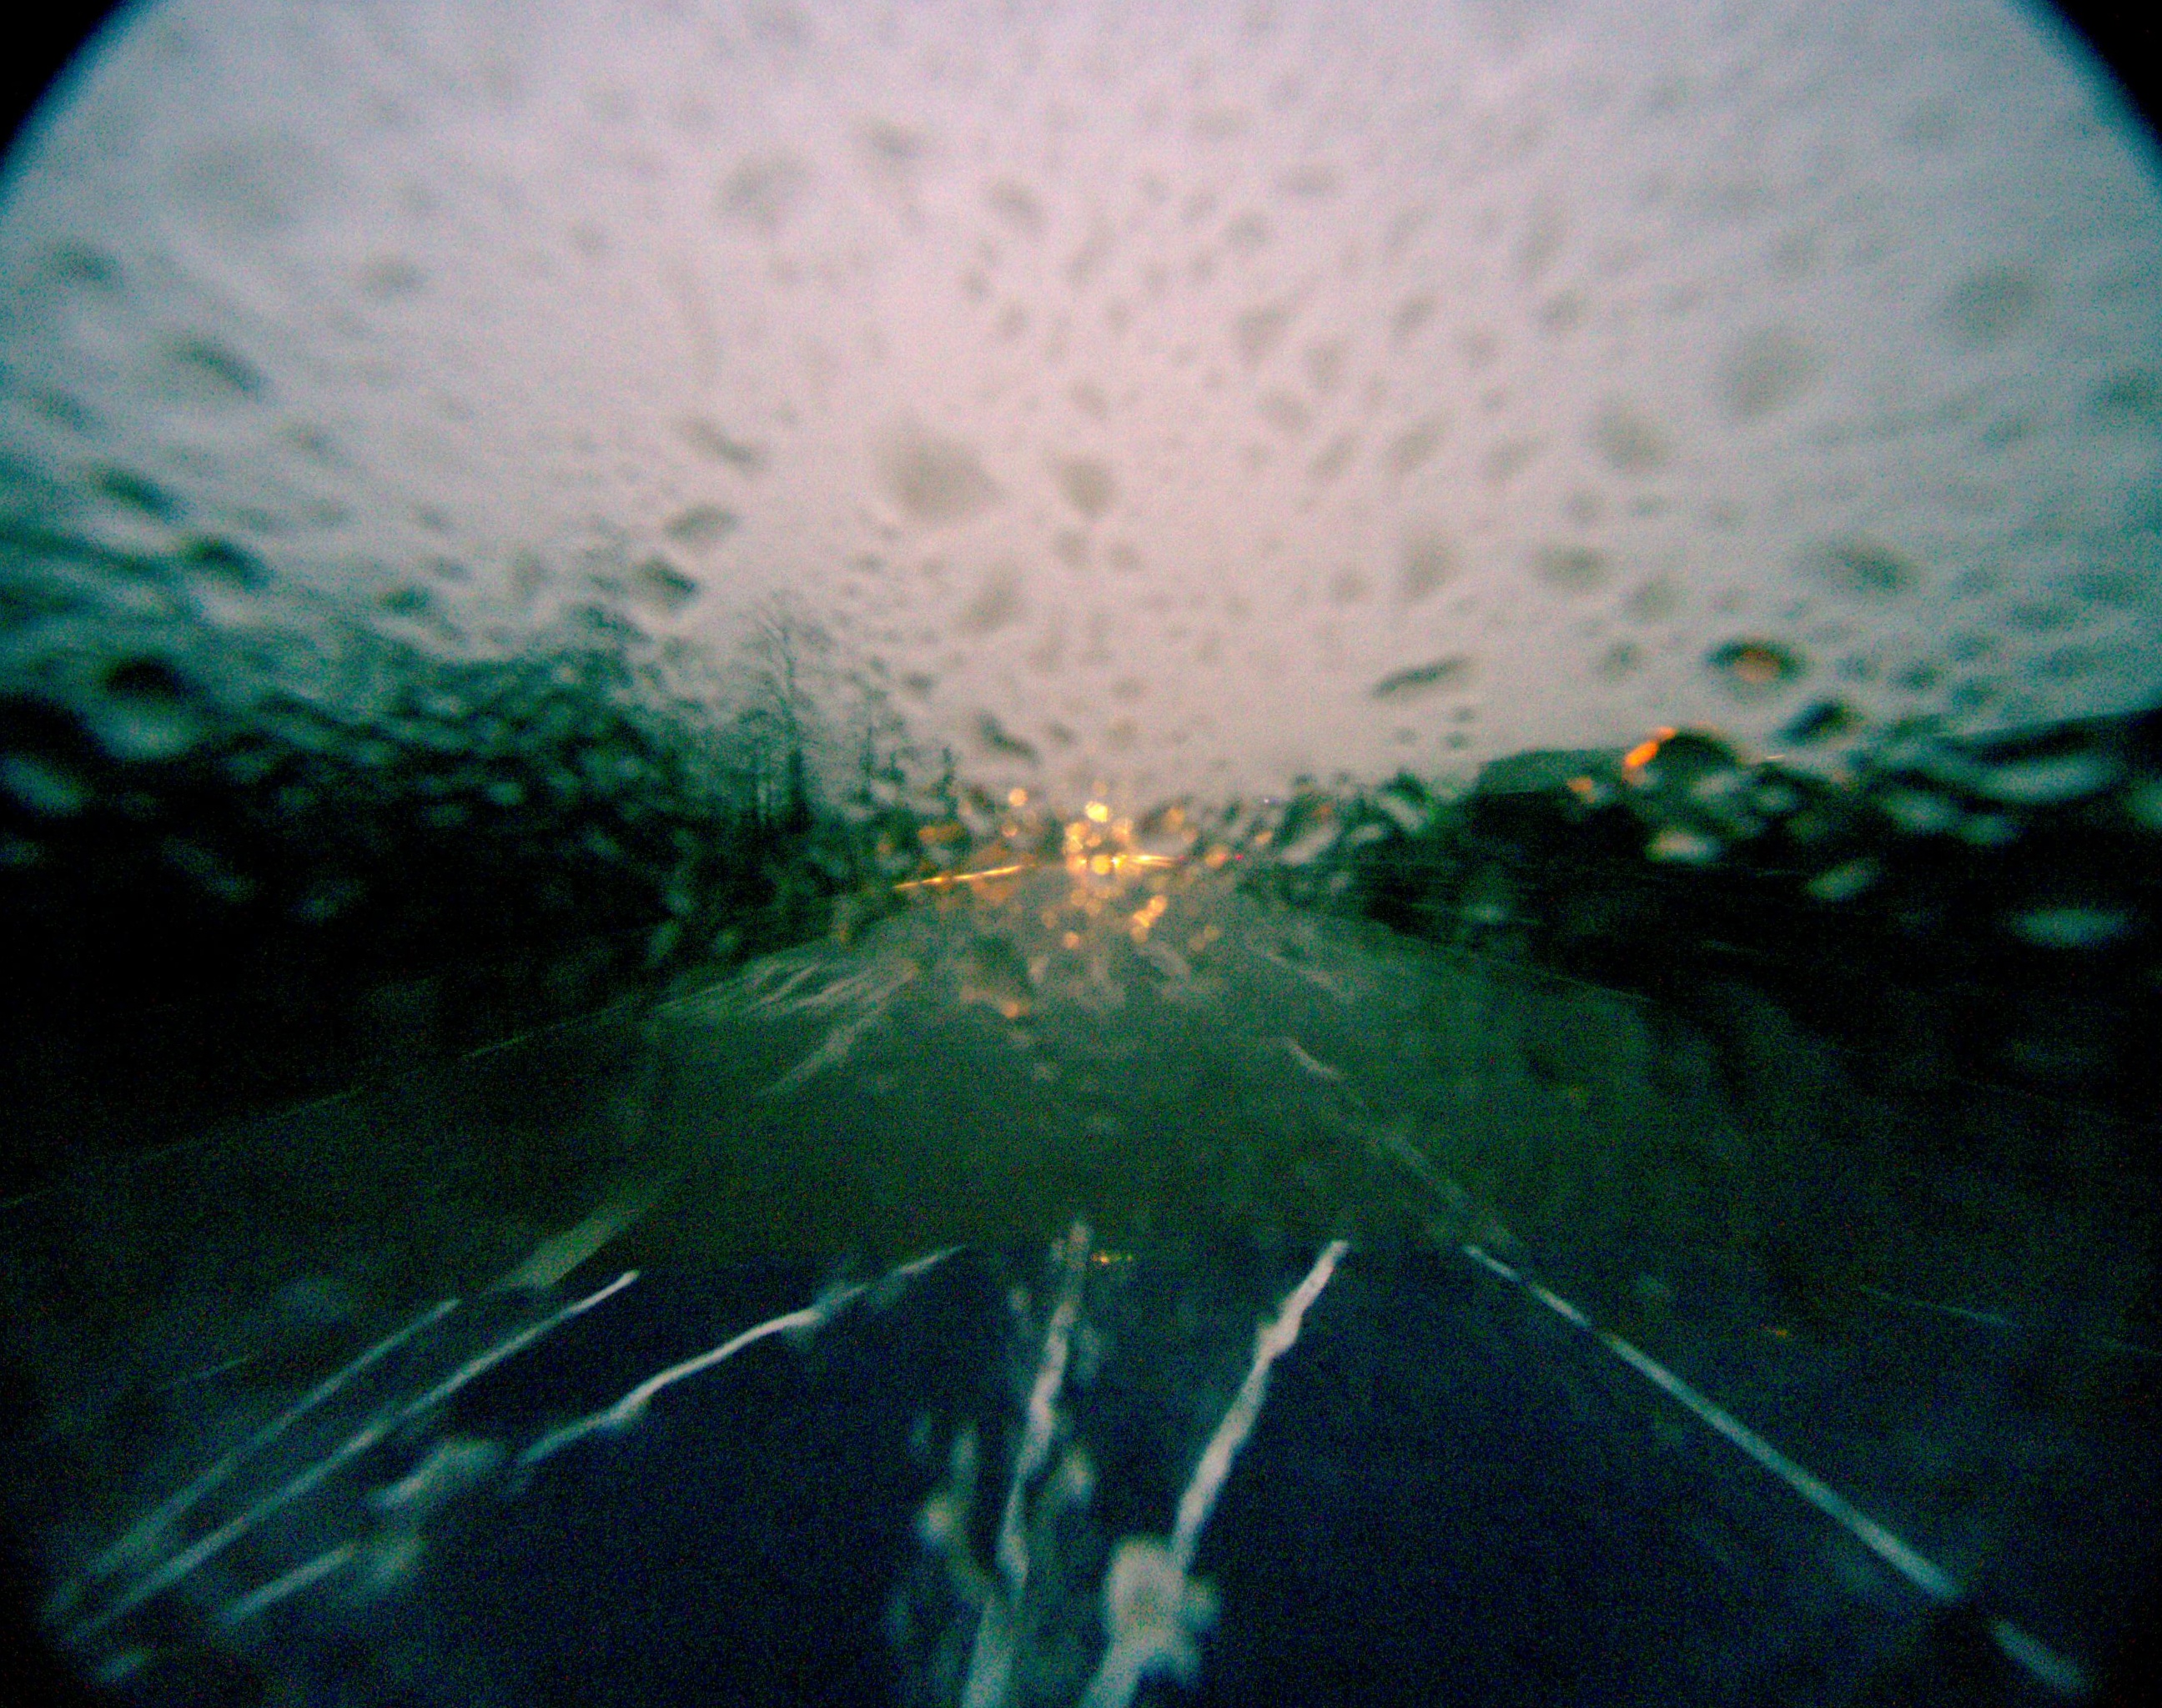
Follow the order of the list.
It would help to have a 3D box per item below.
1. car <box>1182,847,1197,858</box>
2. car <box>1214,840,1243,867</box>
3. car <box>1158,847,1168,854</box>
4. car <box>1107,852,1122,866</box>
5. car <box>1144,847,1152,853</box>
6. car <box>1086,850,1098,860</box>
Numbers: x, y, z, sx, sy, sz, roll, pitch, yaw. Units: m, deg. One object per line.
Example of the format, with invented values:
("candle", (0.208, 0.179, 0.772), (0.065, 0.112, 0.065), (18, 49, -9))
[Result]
("car", (15.769, -0.194, 110.675), (1.741, 1.499, 4.000), (-3, 1, 1))
("car", (14.675, -0.099, 75.742), (1.932, 2.284, 4.885), (-3, 4, 1))
("car", (17.291, -0.782, 161.117), (1.741, 1.499, 4.000), (-3, 1, 1))
("car", (5.190, 0.824, 119.034), (1.999, 2.002, 3.999), (-5, 0, -1))
("car", (17.256, -1.118, 197.220), (1.741, 1.499, 4.000), (-3, 1, 1))
("car", (1.801, 0.173, 123.202), (1.682, 1.401, 3.775), (-2, 1, 2))
